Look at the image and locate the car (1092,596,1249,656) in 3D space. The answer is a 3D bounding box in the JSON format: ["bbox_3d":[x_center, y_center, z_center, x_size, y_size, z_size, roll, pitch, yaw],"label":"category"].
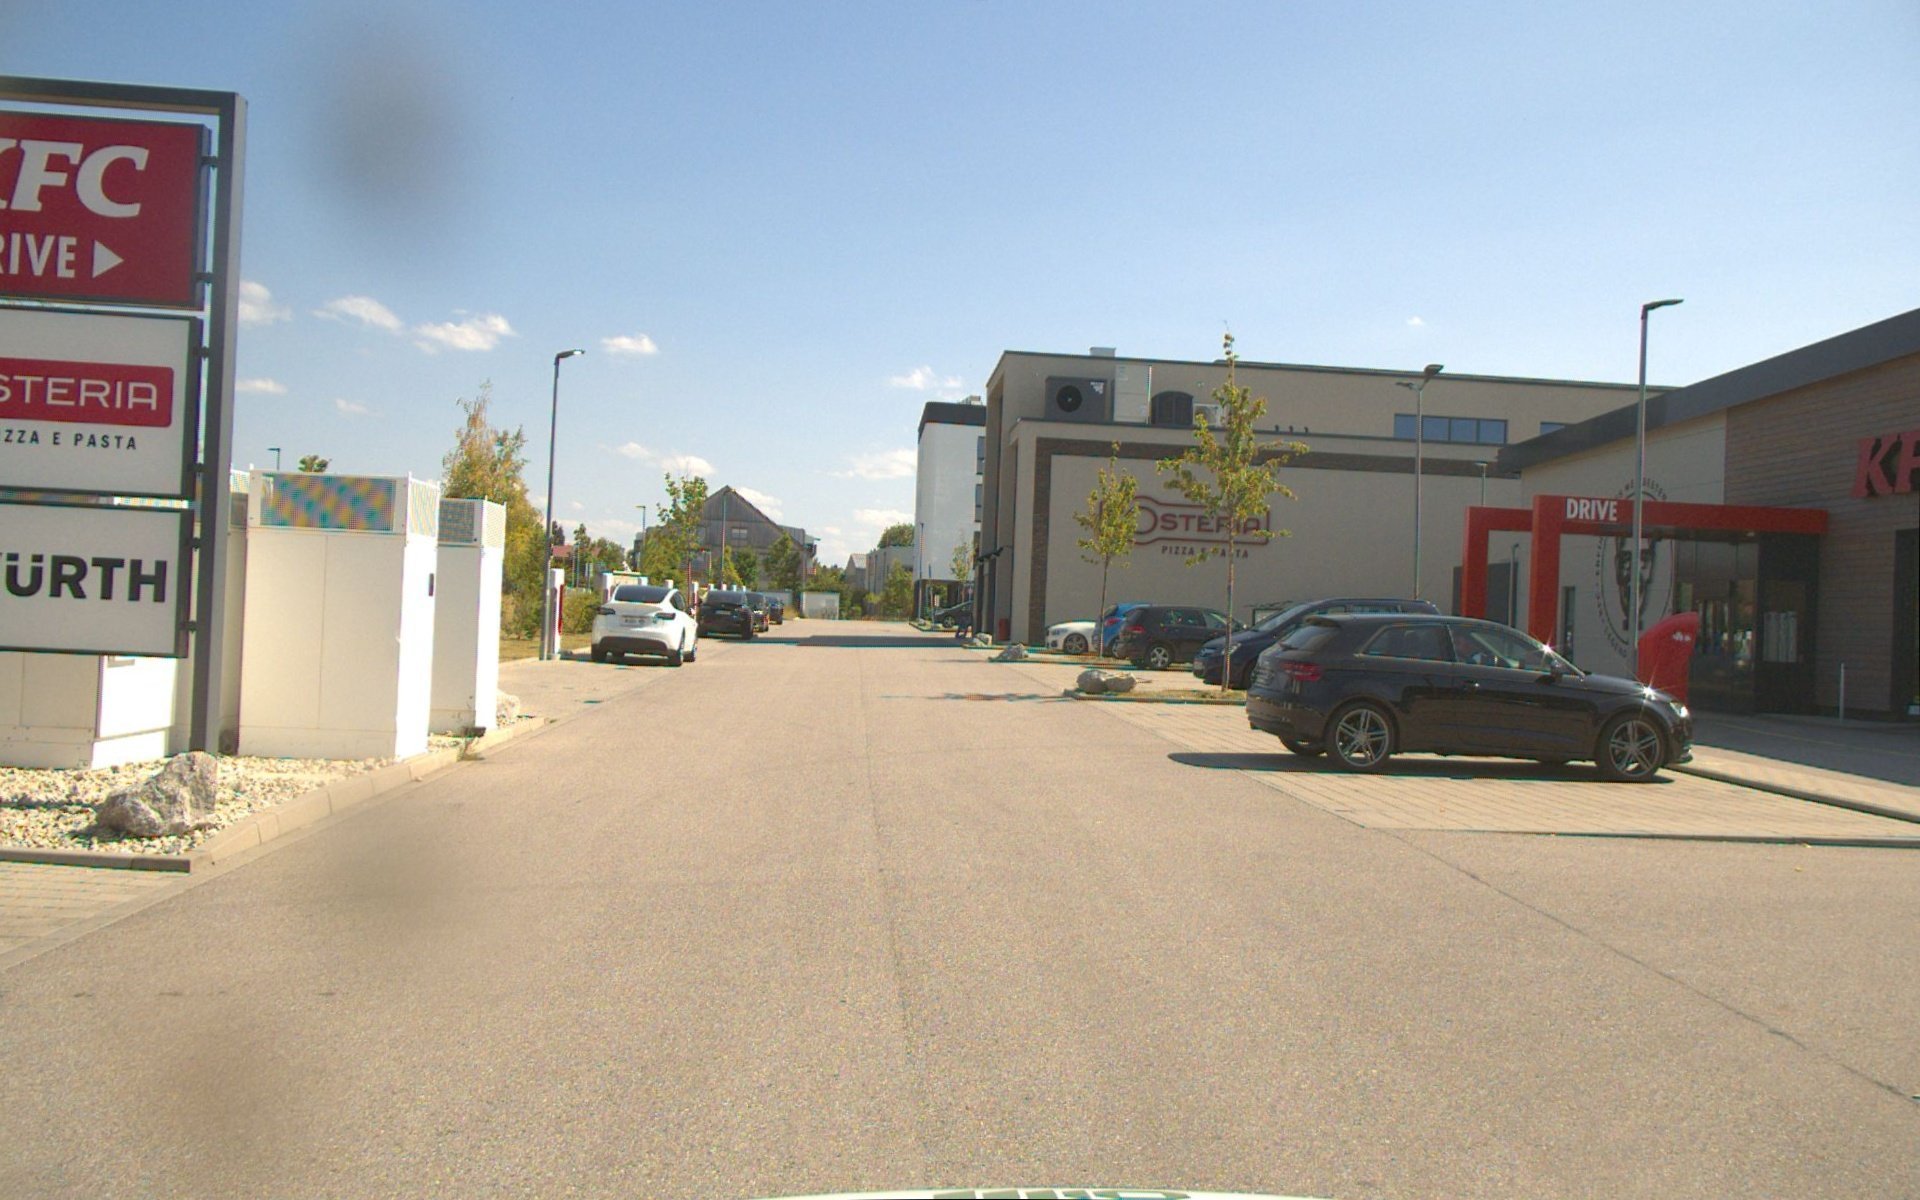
[{"bbox_3d":[5.678,0.690,44.781,3.912,1.445,1.648,2,0,-8],"label":"car"}]

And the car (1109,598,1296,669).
[{"bbox_3d":[5.526,0.755,37.868,3.912,1.445,1.648,2,0,-8],"label":"car"}]

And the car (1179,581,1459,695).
[{"bbox_3d":[6.037,0.632,27.982,4.289,1.715,1.638,2,0,-9],"label":"car"}]

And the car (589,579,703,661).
[{"bbox_3d":[-6.769,0.407,36.039,1.906,1.596,3.997,2,0,-4],"label":"car"}]

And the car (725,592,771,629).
[{"bbox_3d":[-8.835,0.428,69.194,1.709,1.411,3.995,2,0,-6],"label":"car"}]

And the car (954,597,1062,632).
[{"bbox_3d":[1.831,0.541,63.771,3.910,1.176,1.998,2,0,-6],"label":"car"}]

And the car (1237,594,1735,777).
[{"bbox_3d":[4.877,0.775,15.636,4.118,1.466,1.697,3,0,-5],"label":"car"}]

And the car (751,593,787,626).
[{"bbox_3d":[-9.954,0.465,86.224,1.709,1.596,3.995,2,0,-6],"label":"car"}]

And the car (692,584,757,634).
[{"bbox_3d":[-8.106,0.280,57.231,1.907,1.595,3.996,2,0,-5],"label":"car"}]

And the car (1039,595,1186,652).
[{"bbox_3d":[4.345,0.665,47.440,3.912,1.445,1.648,2,0,-8],"label":"car"}]
